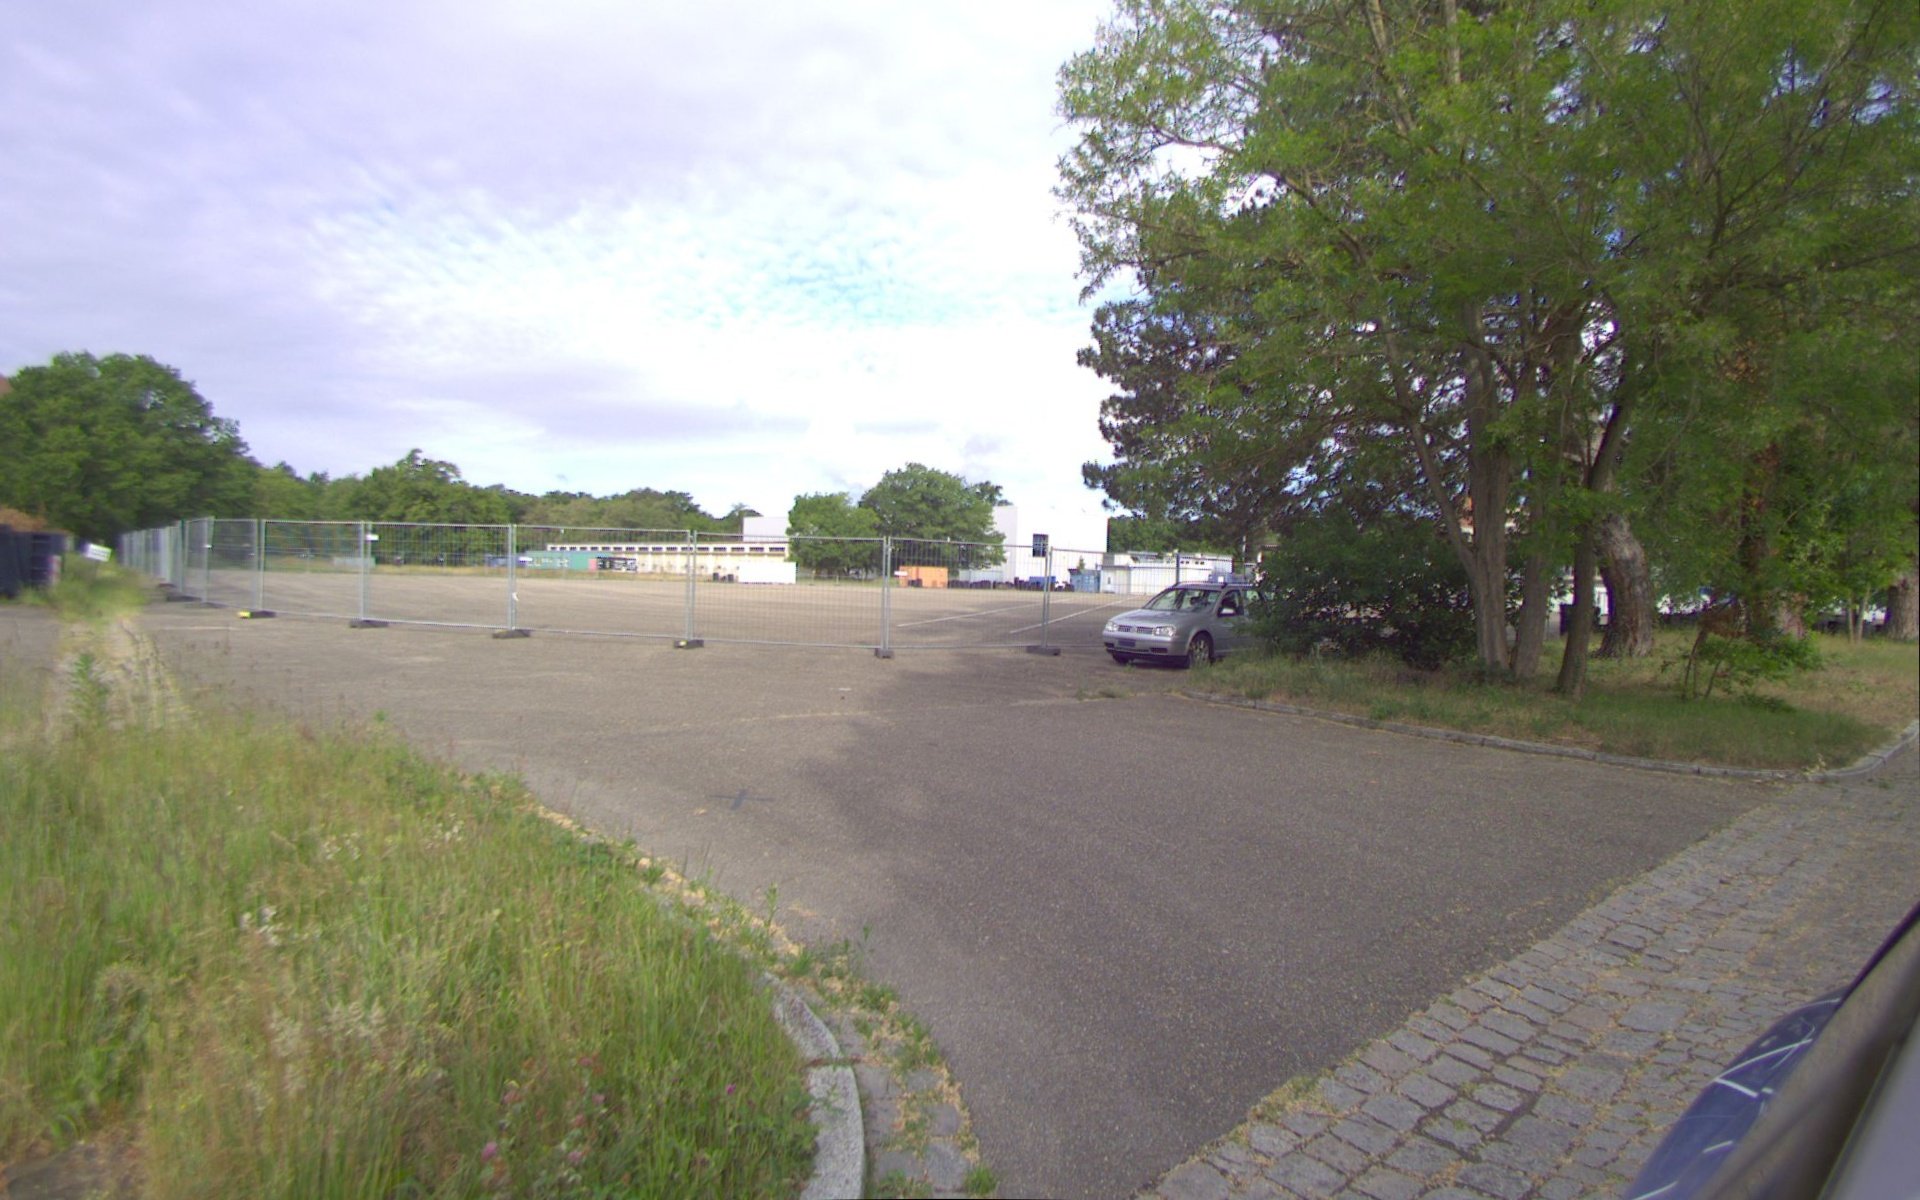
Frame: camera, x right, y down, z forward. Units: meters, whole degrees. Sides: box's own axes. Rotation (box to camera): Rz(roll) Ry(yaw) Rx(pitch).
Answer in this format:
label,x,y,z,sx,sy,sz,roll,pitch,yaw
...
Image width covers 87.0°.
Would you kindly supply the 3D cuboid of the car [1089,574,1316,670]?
label,x,y,z,sx,sy,sz,roll,pitch,yaw
car,4.382,0.347,17.955,4.251,1.466,1.759,1,2,-41
